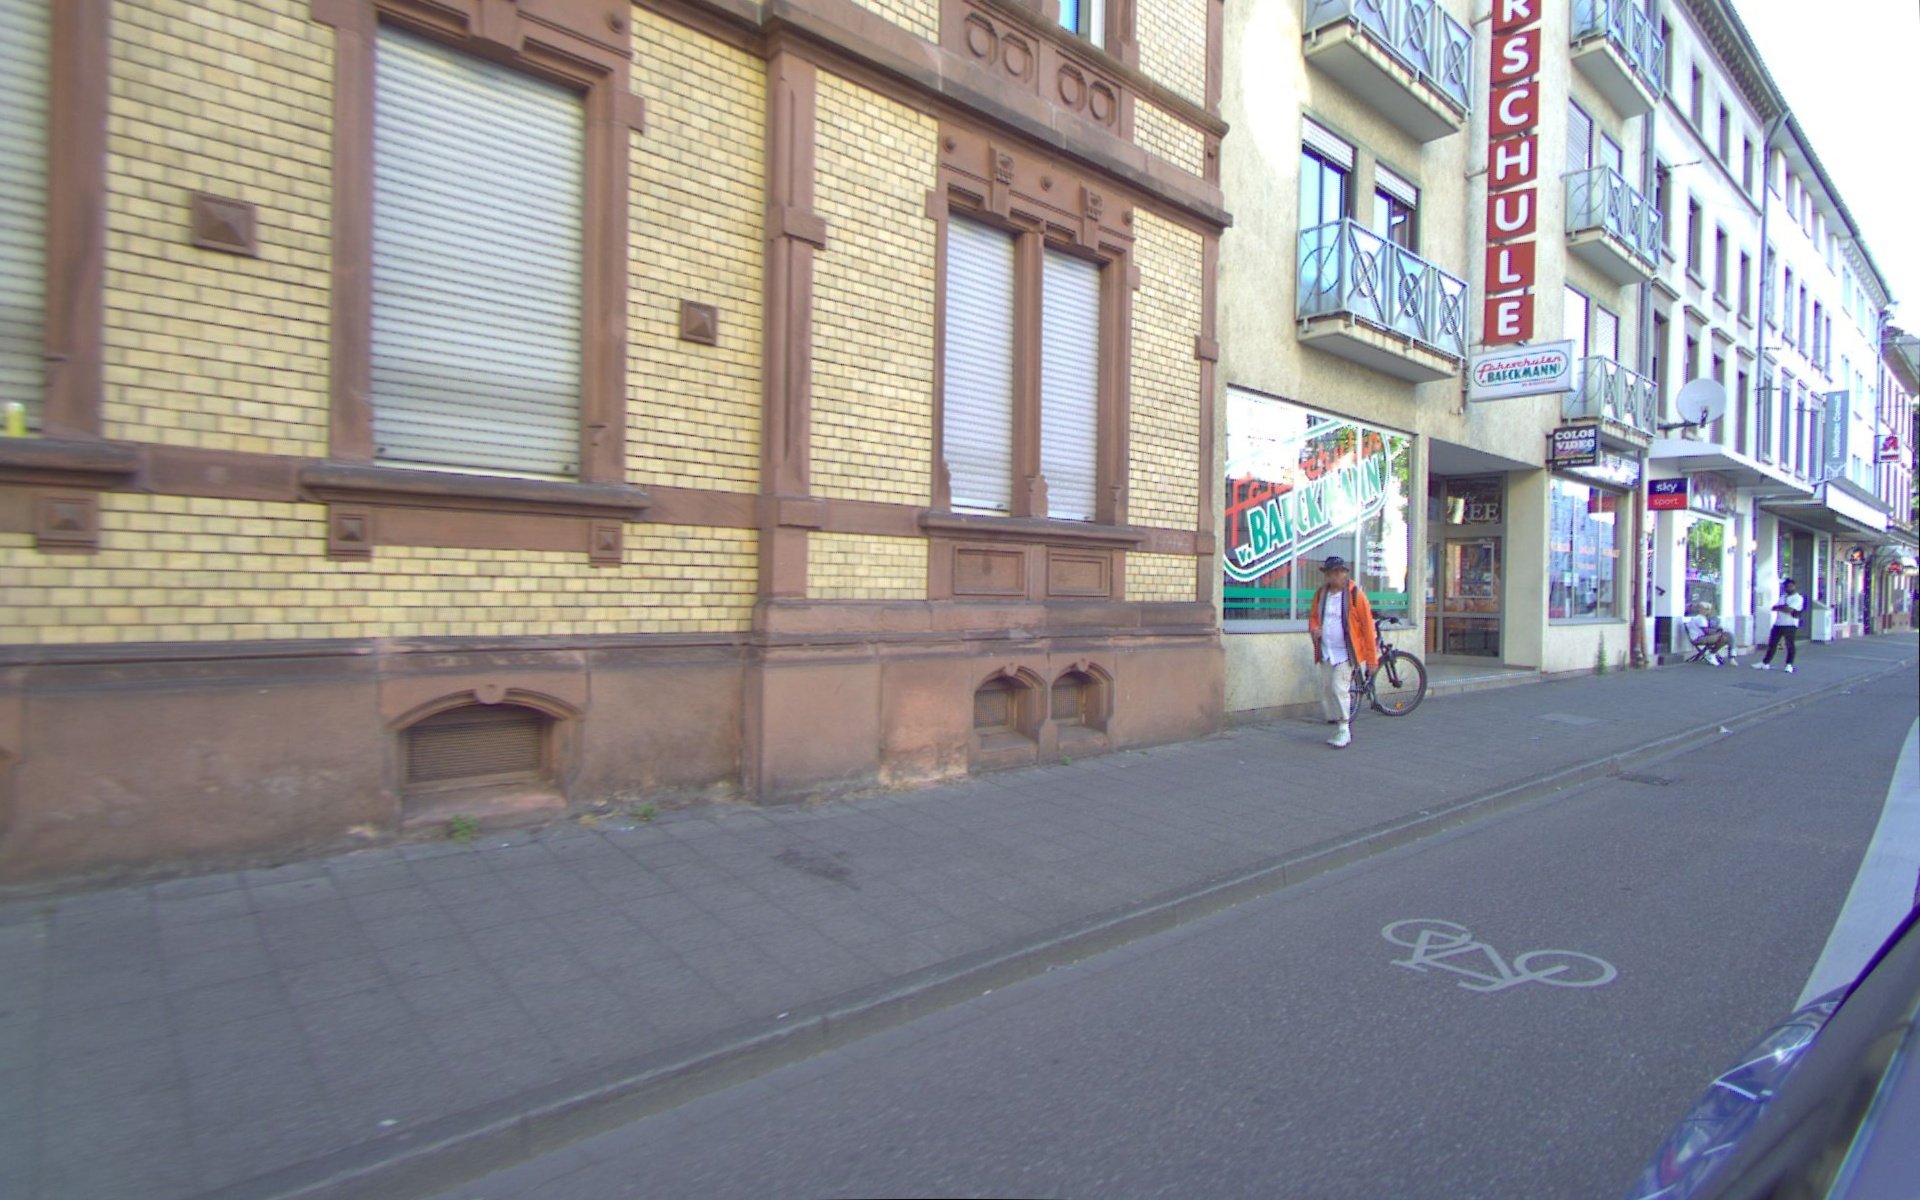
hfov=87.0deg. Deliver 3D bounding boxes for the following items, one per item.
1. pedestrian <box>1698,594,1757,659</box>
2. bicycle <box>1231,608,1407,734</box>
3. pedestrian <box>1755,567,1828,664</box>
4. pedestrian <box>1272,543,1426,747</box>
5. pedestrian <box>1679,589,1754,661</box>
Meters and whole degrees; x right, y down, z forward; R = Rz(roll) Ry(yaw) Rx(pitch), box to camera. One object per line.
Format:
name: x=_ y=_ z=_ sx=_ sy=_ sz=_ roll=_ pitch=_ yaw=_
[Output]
pedestrian: x=15.598 y=0.523 z=20.589 sx=0.701 sy=1.188 sz=1.006 roll=7 pitch=5 yaw=29
bicycle: x=3.579 y=0.637 z=9.958 sx=2.270 sy=1.074 sz=0.556 roll=0 pitch=3 yaw=-41
pedestrian: x=16.542 y=0.303 z=20.146 sx=0.665 sy=1.833 sz=0.709 roll=3 pitch=5 yaw=-26
pedestrian: x=3.428 y=0.373 z=8.942 sx=0.810 sy=1.647 sz=0.801 roll=3 pitch=4 yaw=-36
pedestrian: x=14.851 y=0.473 z=19.887 sx=0.819 sy=1.270 sz=0.704 roll=6 pitch=4 yaw=14
